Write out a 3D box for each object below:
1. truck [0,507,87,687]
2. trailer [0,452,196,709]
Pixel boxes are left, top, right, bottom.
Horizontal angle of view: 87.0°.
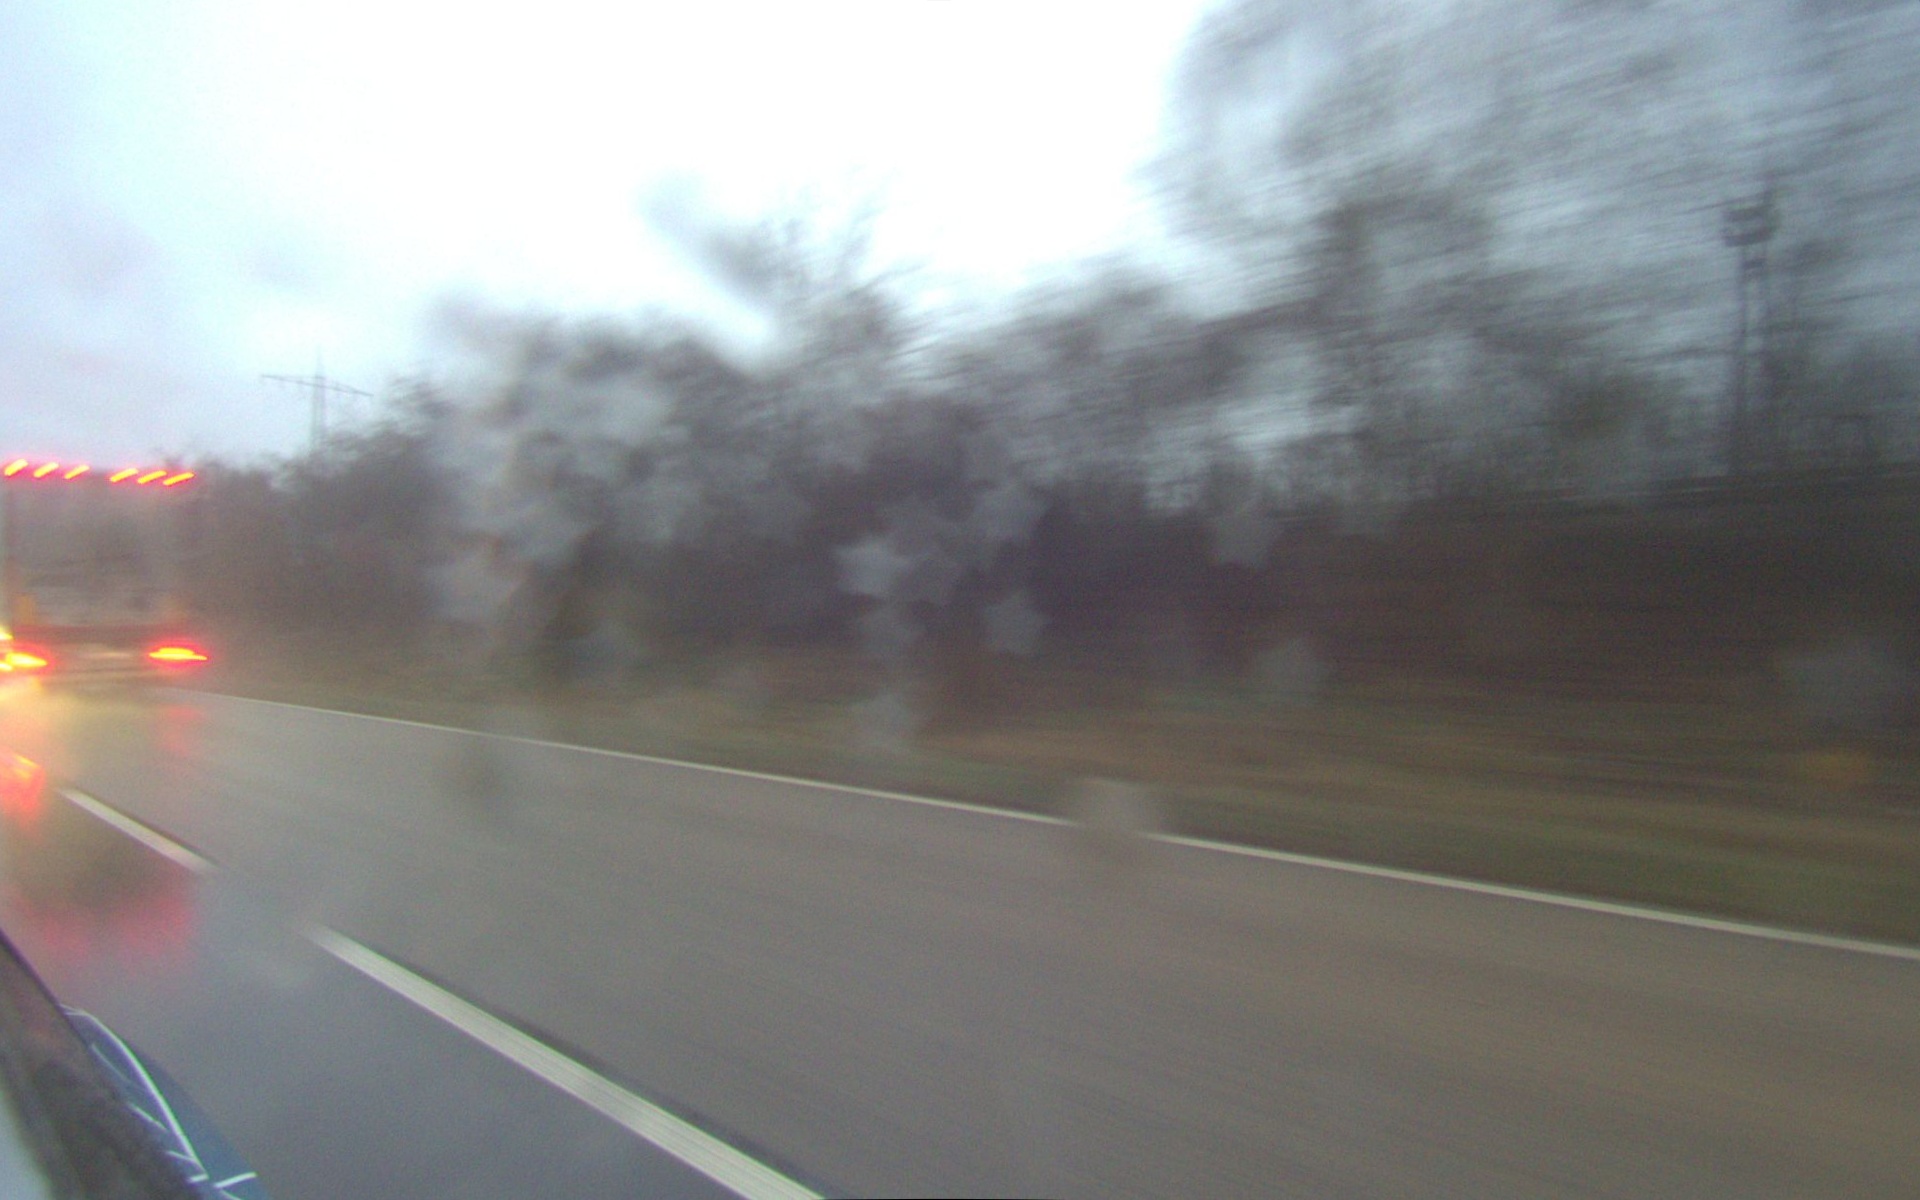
[{"bbox_3d":[-24.825,0.003,25.769,7.193,4.158,2.771,-2,-2,40],"label":"truck"},{"bbox_3d":[-19.783,-0.149,21.521,13.506,4.120,2.750,-2,-2,40],"label":"trailer"}]
